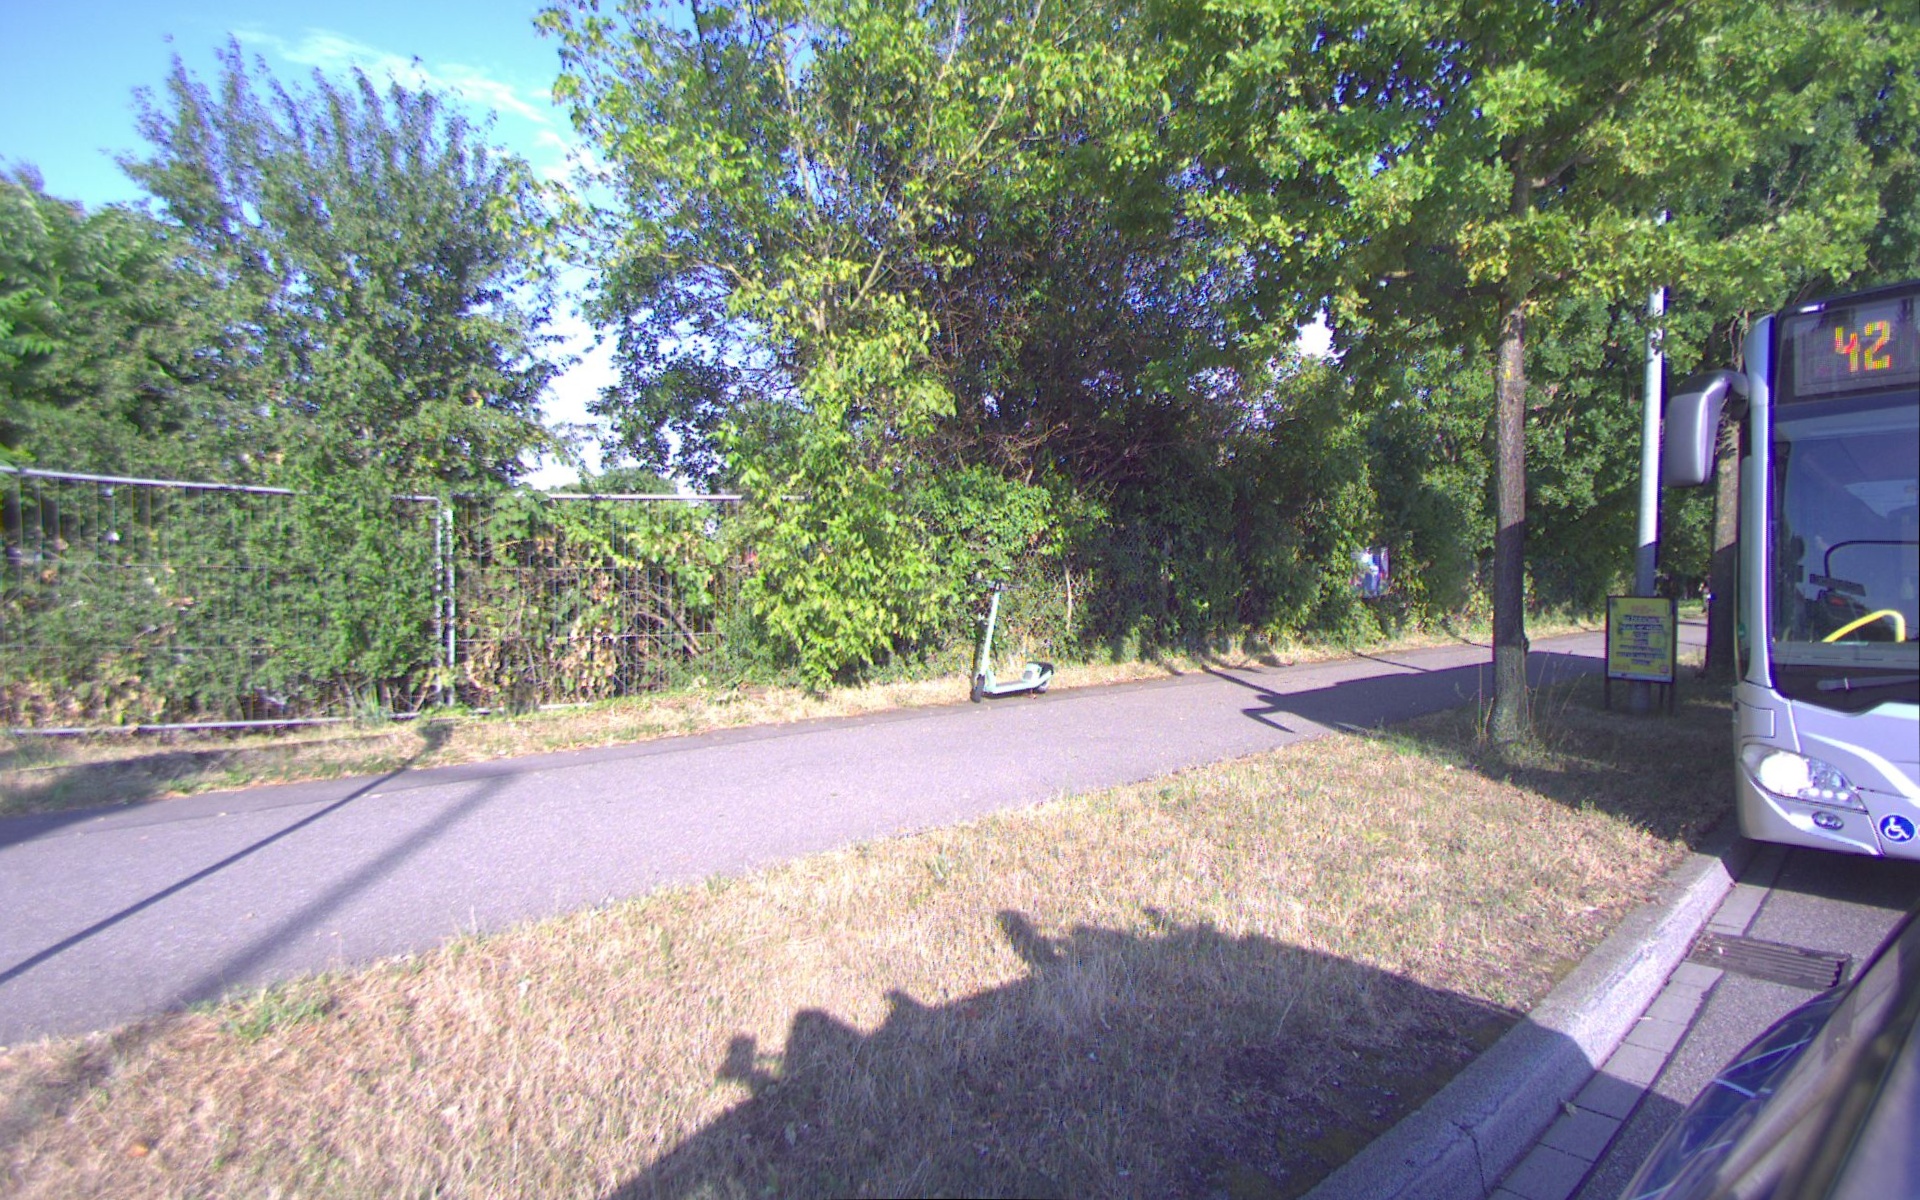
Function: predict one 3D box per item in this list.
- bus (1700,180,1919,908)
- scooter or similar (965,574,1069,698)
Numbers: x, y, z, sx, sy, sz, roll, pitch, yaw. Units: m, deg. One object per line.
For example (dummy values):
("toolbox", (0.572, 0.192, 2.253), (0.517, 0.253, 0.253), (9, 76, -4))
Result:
("bus", (8.379, -0.264, 8.125), (2.588, 3.081, 11.537), (1, 1, 43))
("scooter or similar", (0.563, 0.335, 9.822), (1.076, 1.139, 0.249), (0, 4, -41))
